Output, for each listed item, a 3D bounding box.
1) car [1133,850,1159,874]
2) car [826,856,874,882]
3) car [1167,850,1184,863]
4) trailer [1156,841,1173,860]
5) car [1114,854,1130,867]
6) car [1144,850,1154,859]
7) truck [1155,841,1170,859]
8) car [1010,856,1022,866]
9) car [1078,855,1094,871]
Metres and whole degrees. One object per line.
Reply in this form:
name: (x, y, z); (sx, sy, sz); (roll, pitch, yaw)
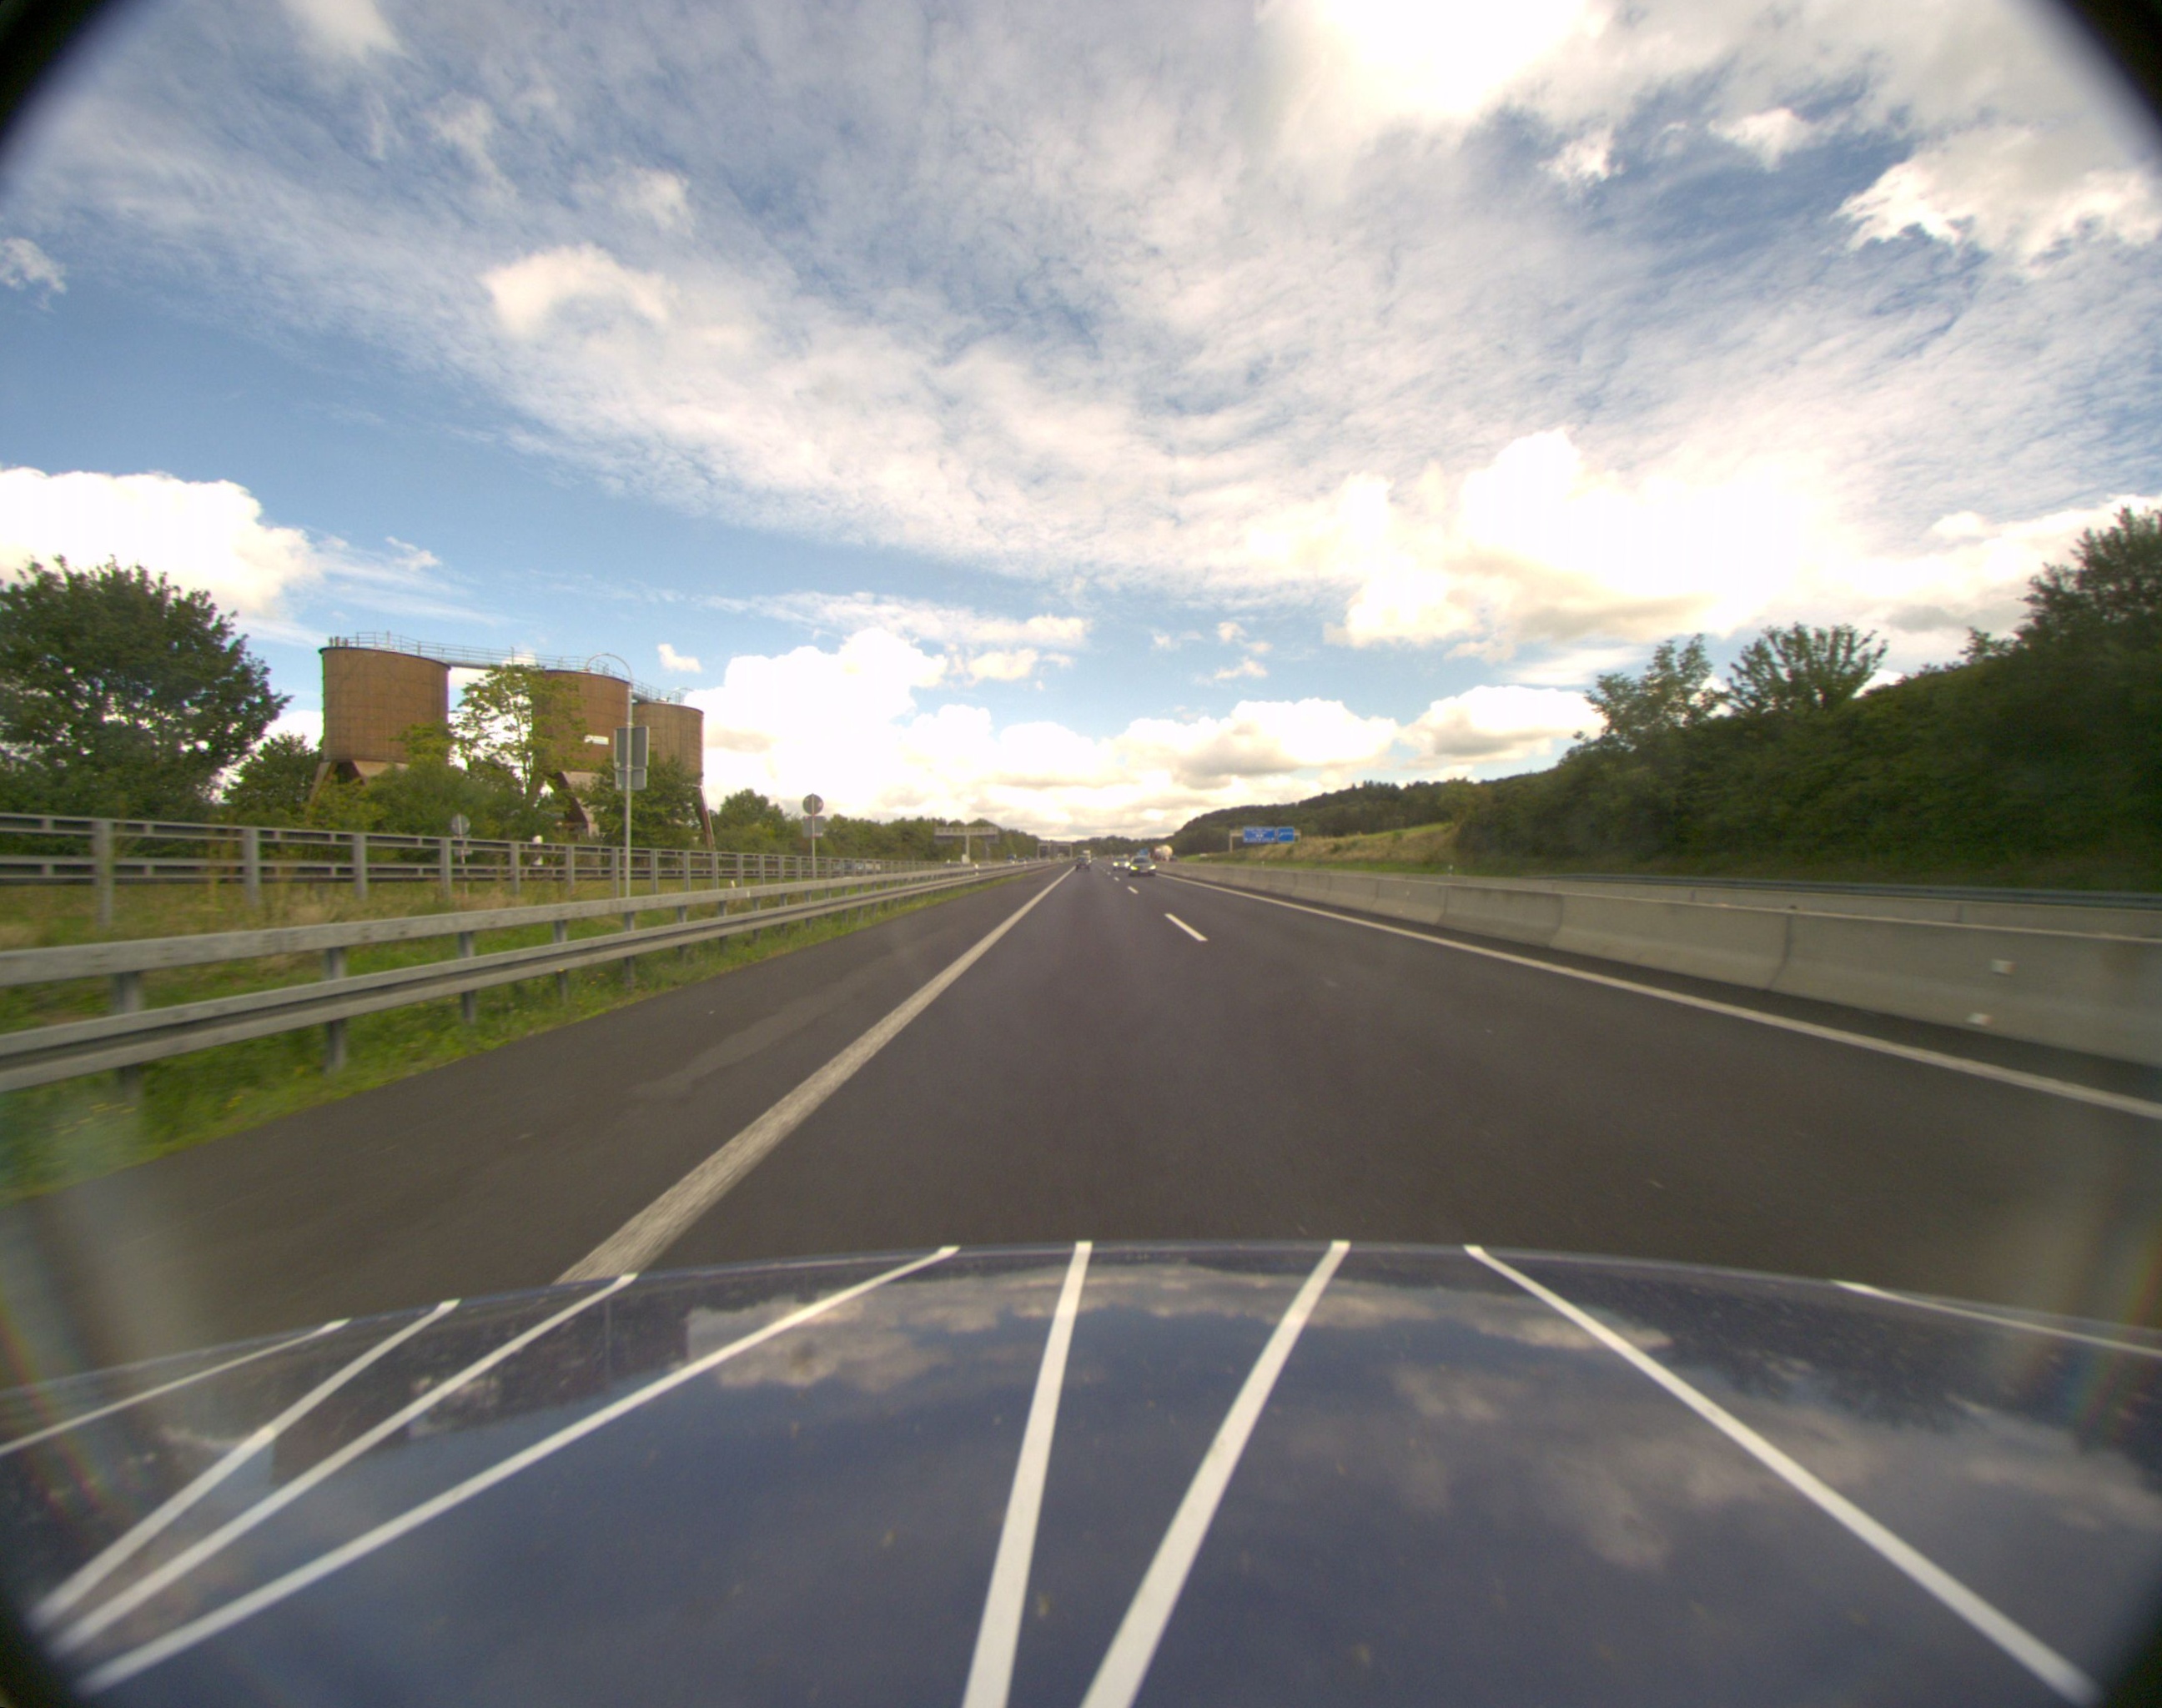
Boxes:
car: (4.852, 0.563, 56.936); (1.724, 1.722, 3.939); (-1, 0, 2)
car: (-15.982, 1.013, 52.756); (1.998, 1.698, 4.000); (0, 0, 1)
car: (13.664, 0.347, 110.249); (1.998, 1.707, 4.000); (0, 0, 1)
trailer: (17.877, -0.764, 163.032); (2.720, 3.864, 11.161); (0, 0, 2)
car: (4.479, 0.722, 83.891); (1.724, 1.406, 3.939); (-1, 0, 2)
car: (14.143, 0.115, 158.578); (1.812, 1.821, 4.396); (0, 0, 2)
truck: (18.017, -0.813, 167.508); (2.744, 3.901, 6.901); (0, 0, 2)
car: (-13.971, 1.450, 163.728); (1.998, 2.173, 5.127); (-1, 0, 0)
car: (0.594, 0.983, 86.549); (1.670, 1.722, 4.207); (-1, 0, 2)
